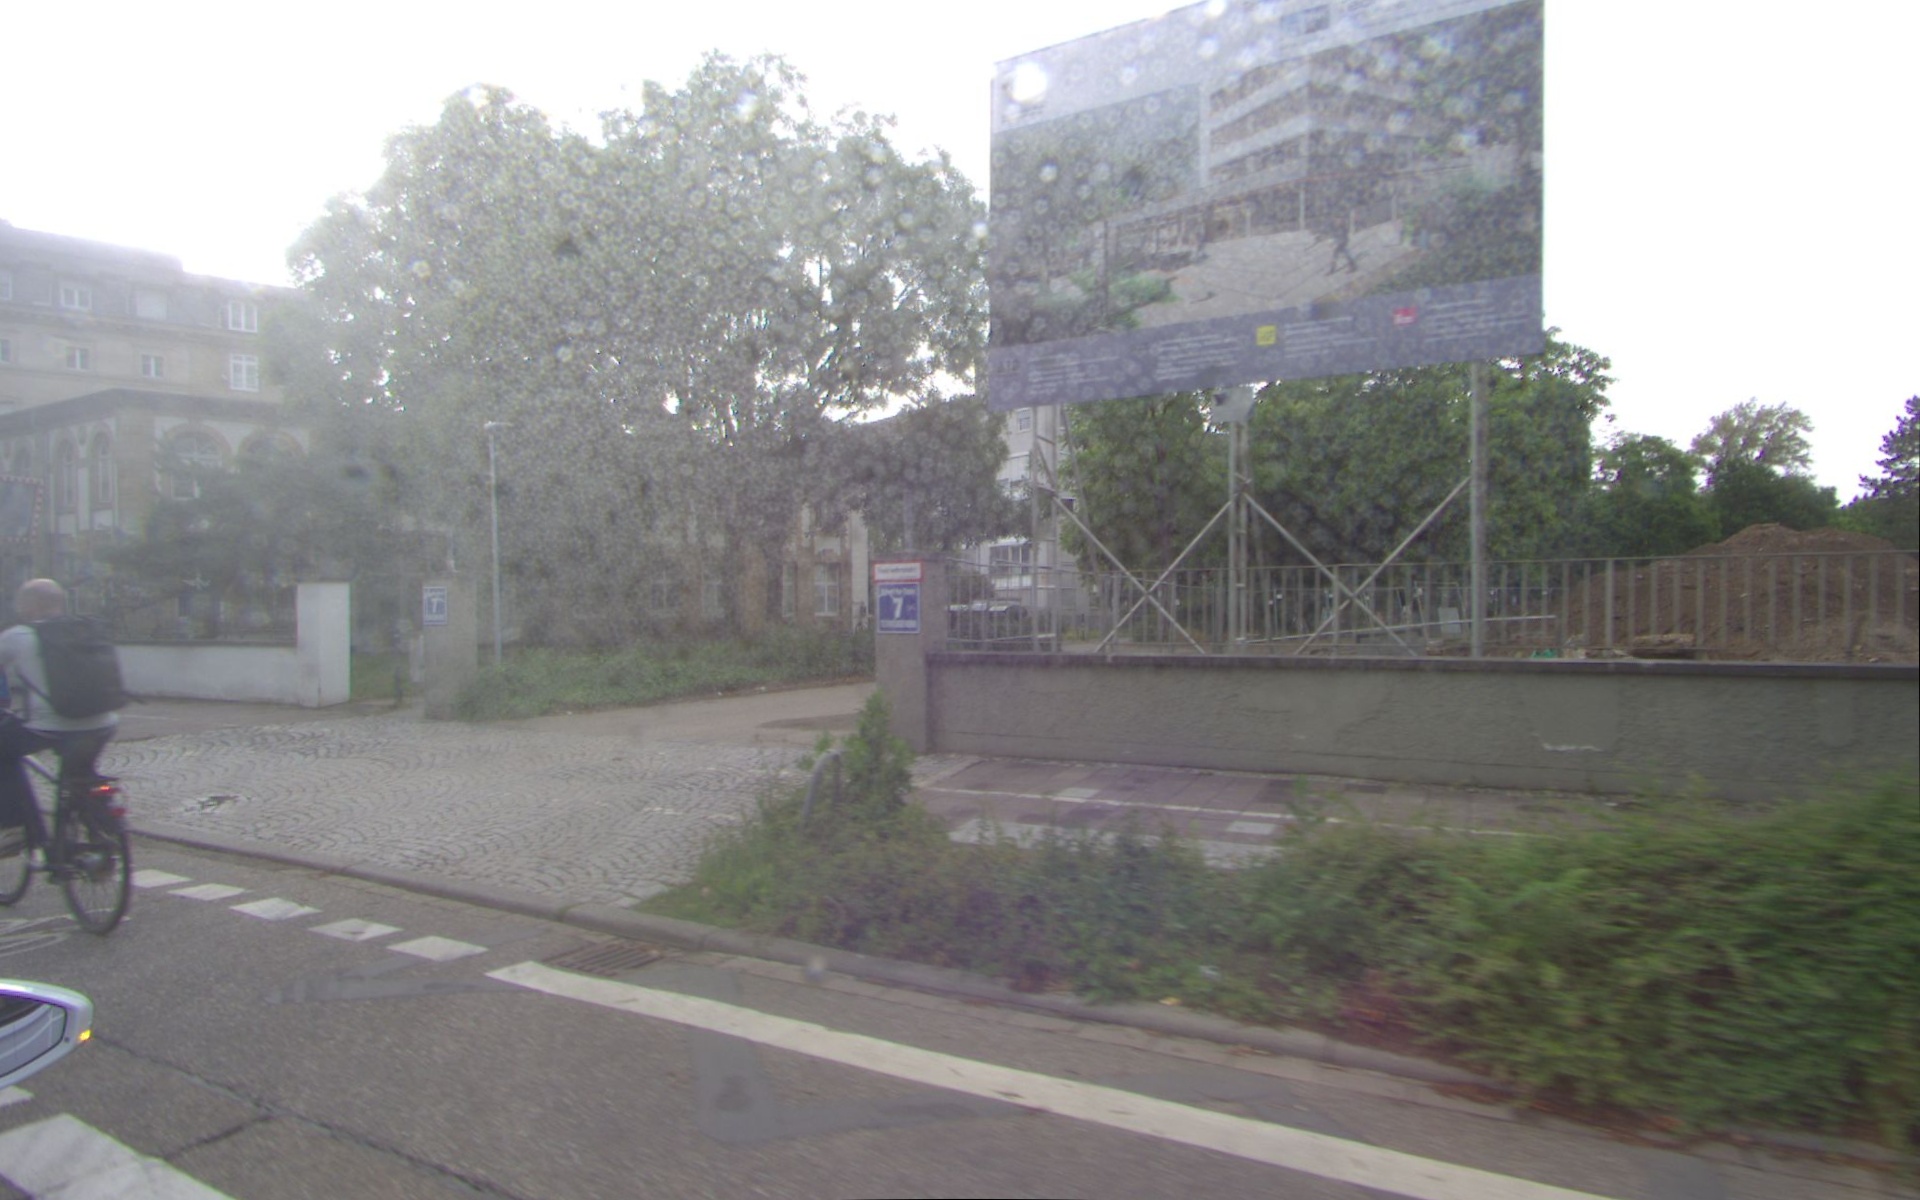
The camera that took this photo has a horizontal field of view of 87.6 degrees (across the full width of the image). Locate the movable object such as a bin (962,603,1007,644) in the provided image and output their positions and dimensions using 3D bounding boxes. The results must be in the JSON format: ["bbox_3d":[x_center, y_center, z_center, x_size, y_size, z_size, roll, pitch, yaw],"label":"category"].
[{"bbox_3d":[0.894,0.869,37.153,1.044,1.475,1.342,0,-1,-40],"label":"movable object such as a bin"}]

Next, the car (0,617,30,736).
[{"bbox_3d":[-13.665,0.956,12.751,3.379,1.479,1.673,0,-1,28],"label":"car"}]

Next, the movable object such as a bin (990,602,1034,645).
[{"bbox_3d":[1.842,0.829,35.847,1.039,1.470,1.348,0,2,-26],"label":"movable object such as a bin"}]

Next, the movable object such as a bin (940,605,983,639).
[{"bbox_3d":[0.063,0.828,38.371,1.044,1.281,1.342,-1,0,-40],"label":"movable object such as a bin"}]

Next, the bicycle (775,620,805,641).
[{"bbox_3d":[-6.912,1.233,40.606,0.610,0.824,1.936,-1,0,-28],"label":"bicycle"}]

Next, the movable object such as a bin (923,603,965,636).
[{"bbox_3d":[-0.649,0.755,39.684,1.045,1.281,1.341,-1,0,-43],"label":"movable object such as a bin"}]

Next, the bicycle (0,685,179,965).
[{"bbox_3d":[-4.772,1.052,5.178,1.842,1.131,0.662,0,-2,36],"label":"bicycle"}]

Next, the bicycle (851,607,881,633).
[{"bbox_3d":[-3.990,0.851,42.562,0.391,1.079,1.815,0,0,-36],"label":"bicycle"}]

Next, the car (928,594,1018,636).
[{"bbox_3d":[0.676,0.760,50.131,4.302,2.039,1.840,1,-2,-39],"label":"car"}]

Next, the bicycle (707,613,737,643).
[{"bbox_3d":[-9.272,1.083,38.985,0.609,1.134,2.211,-1,0,-28],"label":"bicycle"}]

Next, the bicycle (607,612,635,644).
[{"bbox_3d":[-12.478,1.014,36.839,0.609,1.134,2.211,-1,0,-28],"label":"bicycle"}]

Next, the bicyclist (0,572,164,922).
[{"bbox_3d":[-4.586,0.678,5.051,0.973,1.590,0.660,0,-1,37],"label":"bicyclist"}]

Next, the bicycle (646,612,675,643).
[{"bbox_3d":[-11.227,1.004,37.486,0.609,1.134,2.211,-1,0,-28],"label":"bicycle"}]

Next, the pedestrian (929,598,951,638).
[{"bbox_3d":[-0.921,0.852,46.755,0.747,1.832,0.693,-1,-1,-39],"label":"pedestrian"}]
